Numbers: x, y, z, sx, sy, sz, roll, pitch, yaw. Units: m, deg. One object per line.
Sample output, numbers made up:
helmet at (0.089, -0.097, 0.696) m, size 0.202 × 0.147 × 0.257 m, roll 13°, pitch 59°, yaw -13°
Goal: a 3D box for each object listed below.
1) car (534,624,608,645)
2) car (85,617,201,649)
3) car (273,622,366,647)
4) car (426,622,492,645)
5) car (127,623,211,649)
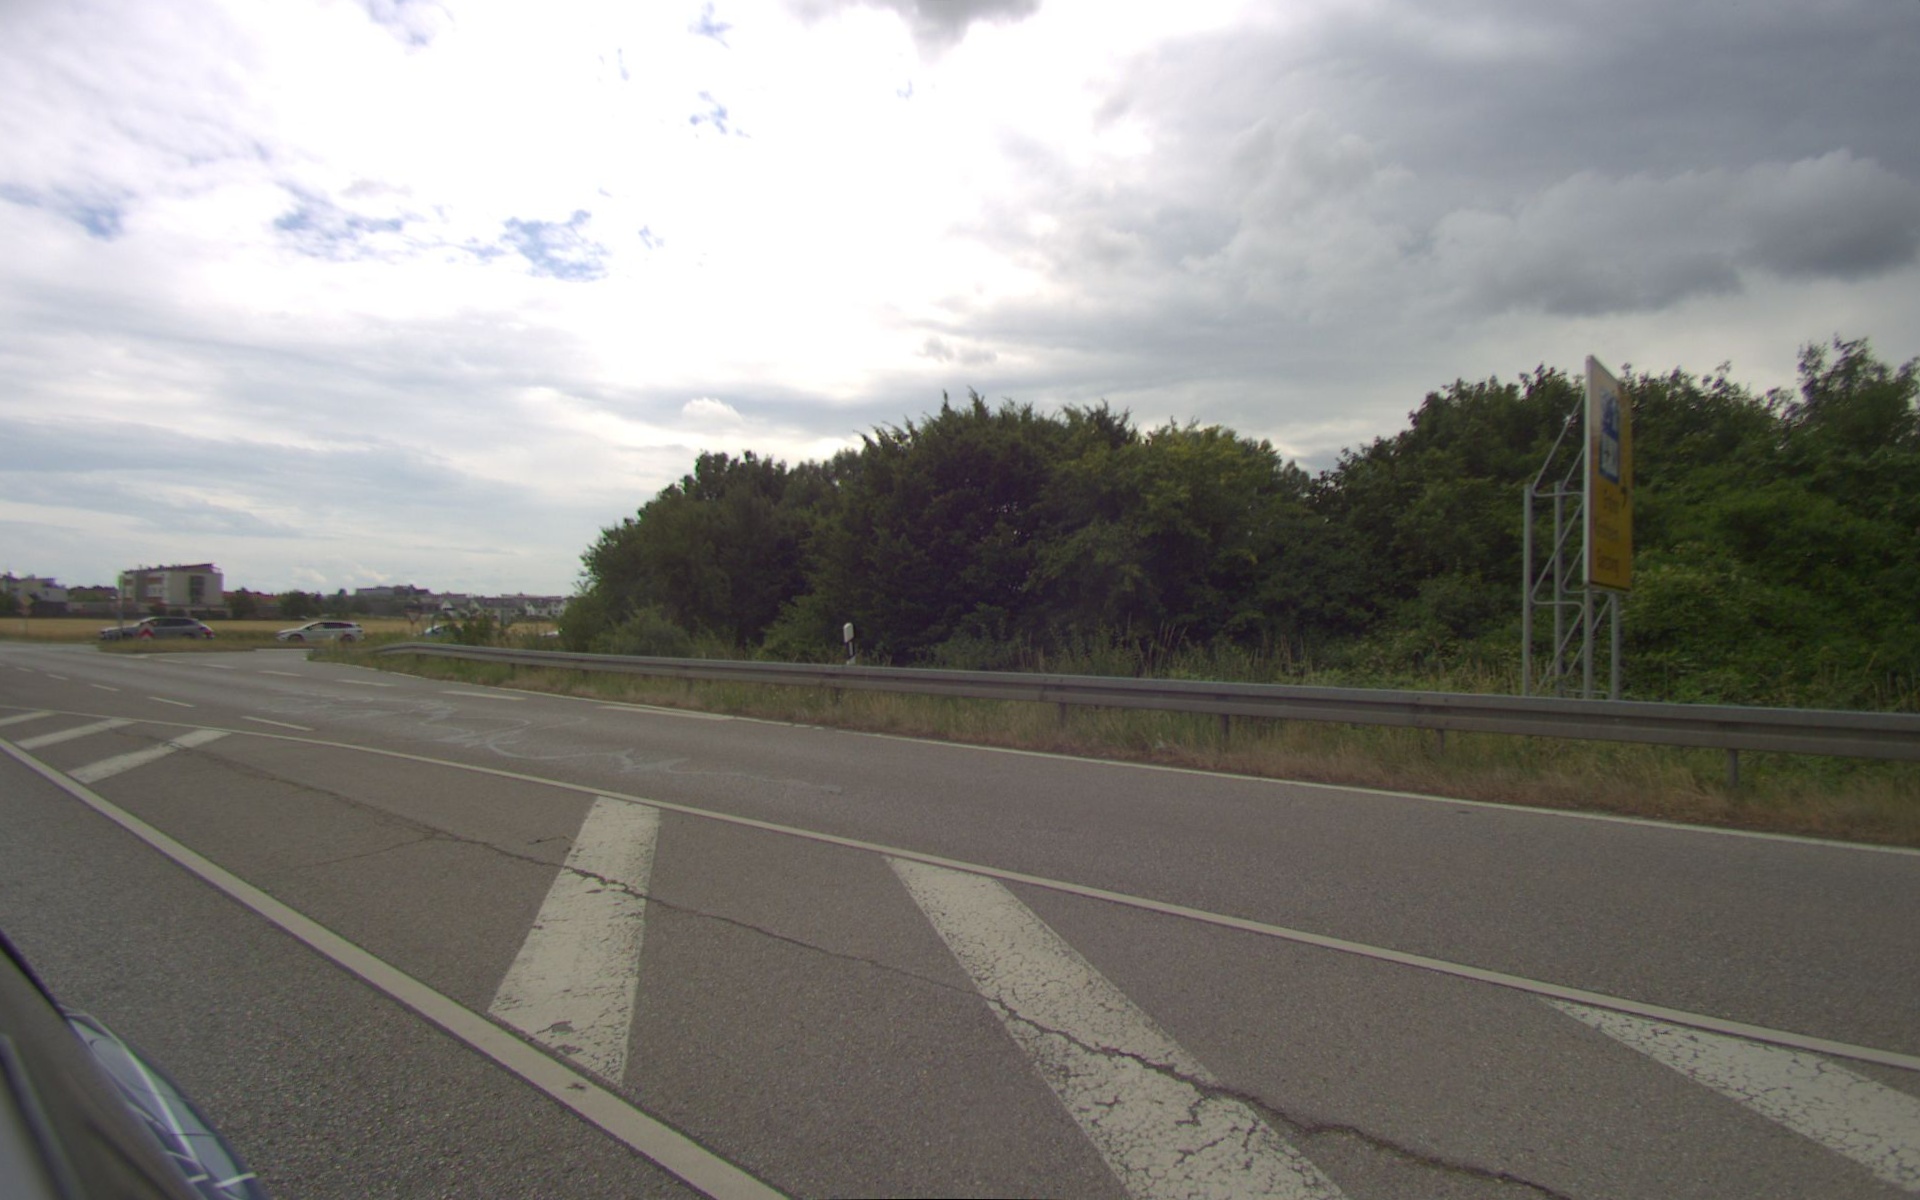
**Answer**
car at (-28.259, 2.488, 73.640) m, size 4.607 × 1.510 × 2.002 m, roll 1°, pitch -2°, yaw -42°
car at (-45.876, 1.817, 56.905) m, size 1.999 × 1.702 × 4.753 m, roll -1°, pitch -2°, yaw 40°
car at (-39.742, 2.131, 62.883) m, size 4.607 × 1.510 × 2.002 m, roll 1°, pitch -2°, yaw -42°
car at (-33.889, 2.235, 68.457) m, size 3.662 × 1.510 × 1.732 m, roll 1°, pitch -2°, yaw -42°
car at (-46.873, 2.127, 59.988) m, size 3.779 × 1.501 × 2.002 m, roll 1°, pitch -2°, yaw -43°
